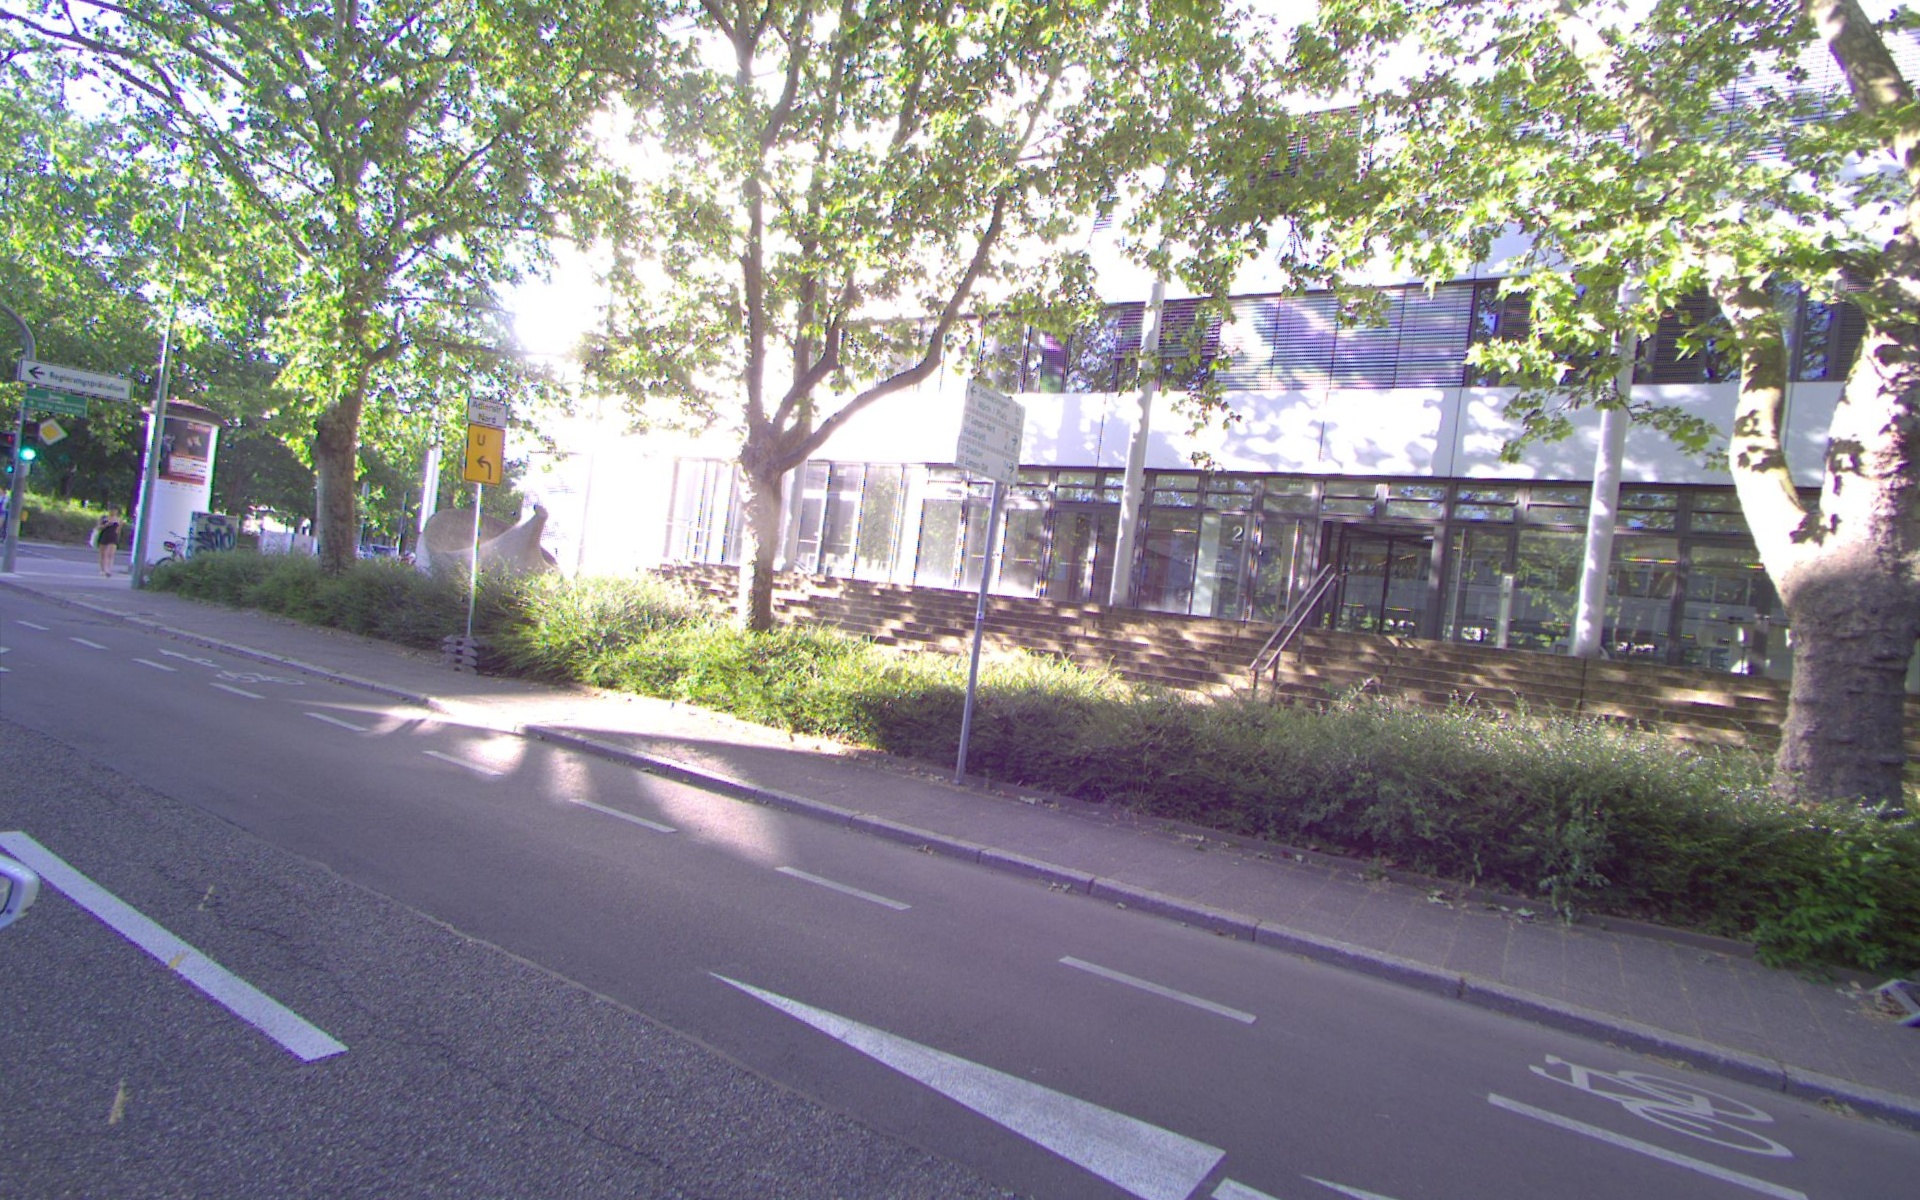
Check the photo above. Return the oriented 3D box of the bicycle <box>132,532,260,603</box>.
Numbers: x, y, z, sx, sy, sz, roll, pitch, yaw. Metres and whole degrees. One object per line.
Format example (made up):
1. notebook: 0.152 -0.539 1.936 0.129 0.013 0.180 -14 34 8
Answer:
1. bicycle: -15.946 -0.656 21.055 0.519 1.203 1.980 7 -2 30

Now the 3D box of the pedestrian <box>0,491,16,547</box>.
1. pedestrian: -30.600 -2.596 31.838 0.955 1.717 0.684 6 -1 32

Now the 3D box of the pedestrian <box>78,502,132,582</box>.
1. pedestrian: -19.036 -1.291 22.407 0.795 1.651 0.897 5 0 -41

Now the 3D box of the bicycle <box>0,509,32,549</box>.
1. bicycle: -30.230 -2.276 32.032 1.713 1.113 0.525 6 -1 34

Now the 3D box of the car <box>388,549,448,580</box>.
1. car: -35.572 -2.331 65.969 3.732 1.500 1.633 6 -2 31
